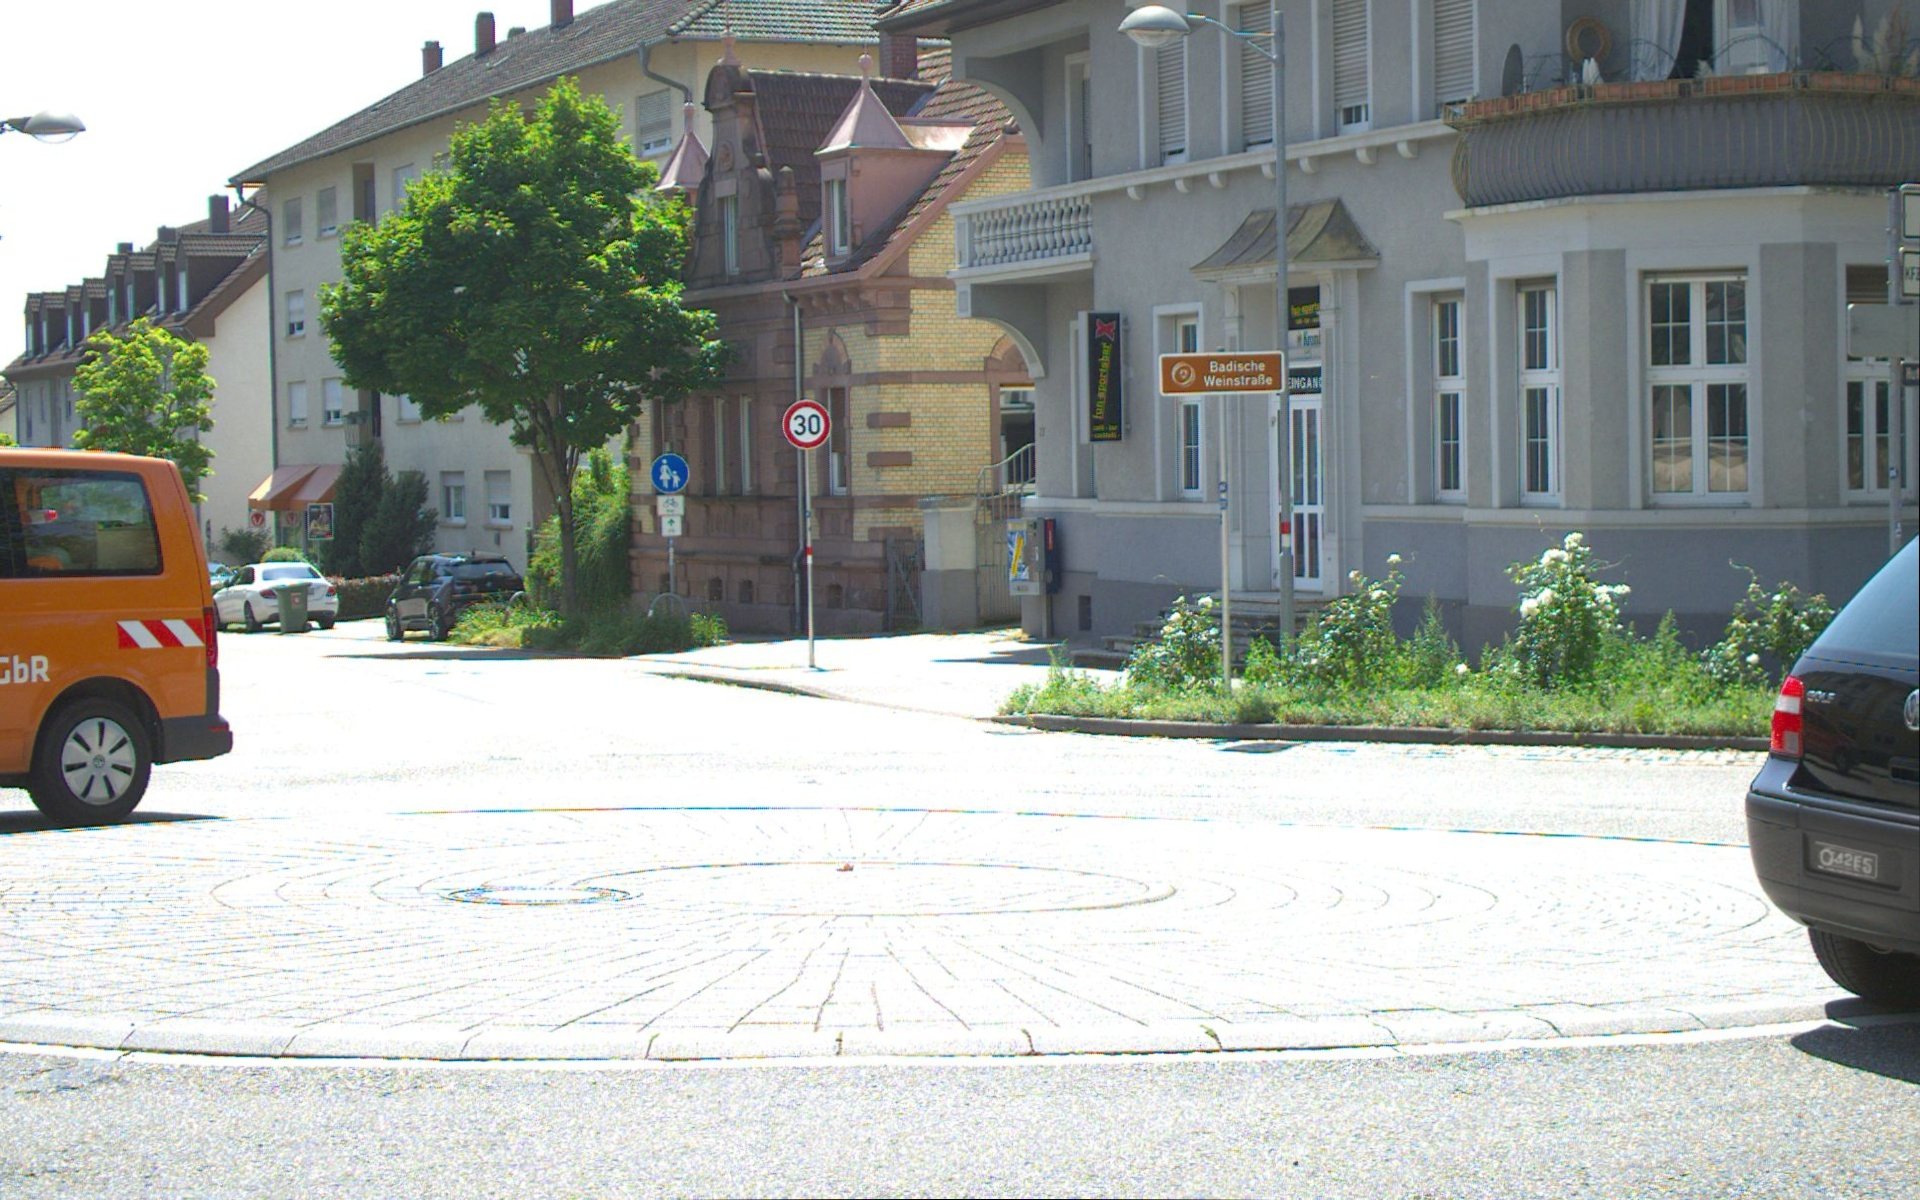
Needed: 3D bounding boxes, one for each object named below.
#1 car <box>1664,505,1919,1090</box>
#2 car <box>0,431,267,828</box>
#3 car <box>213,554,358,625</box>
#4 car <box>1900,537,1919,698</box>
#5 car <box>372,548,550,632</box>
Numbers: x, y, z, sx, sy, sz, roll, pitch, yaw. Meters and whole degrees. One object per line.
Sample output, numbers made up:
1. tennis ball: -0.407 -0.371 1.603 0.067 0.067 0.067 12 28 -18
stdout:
1. car: 4.154 0.498 9.607 4.044 1.442 1.717 0 2 -26
2. car: -6.056 0.154 16.879 1.949 1.952 5.009 1 3 42
3. car: -14.755 -0.258 75.027 1.993 1.504 4.420 -1 1 -26
4. car: 10.212 0.167 29.957 1.718 1.455 3.793 -1 1 -30
5. car: -9.351 -0.208 64.152 1.993 1.504 4.420 -1 1 -26
